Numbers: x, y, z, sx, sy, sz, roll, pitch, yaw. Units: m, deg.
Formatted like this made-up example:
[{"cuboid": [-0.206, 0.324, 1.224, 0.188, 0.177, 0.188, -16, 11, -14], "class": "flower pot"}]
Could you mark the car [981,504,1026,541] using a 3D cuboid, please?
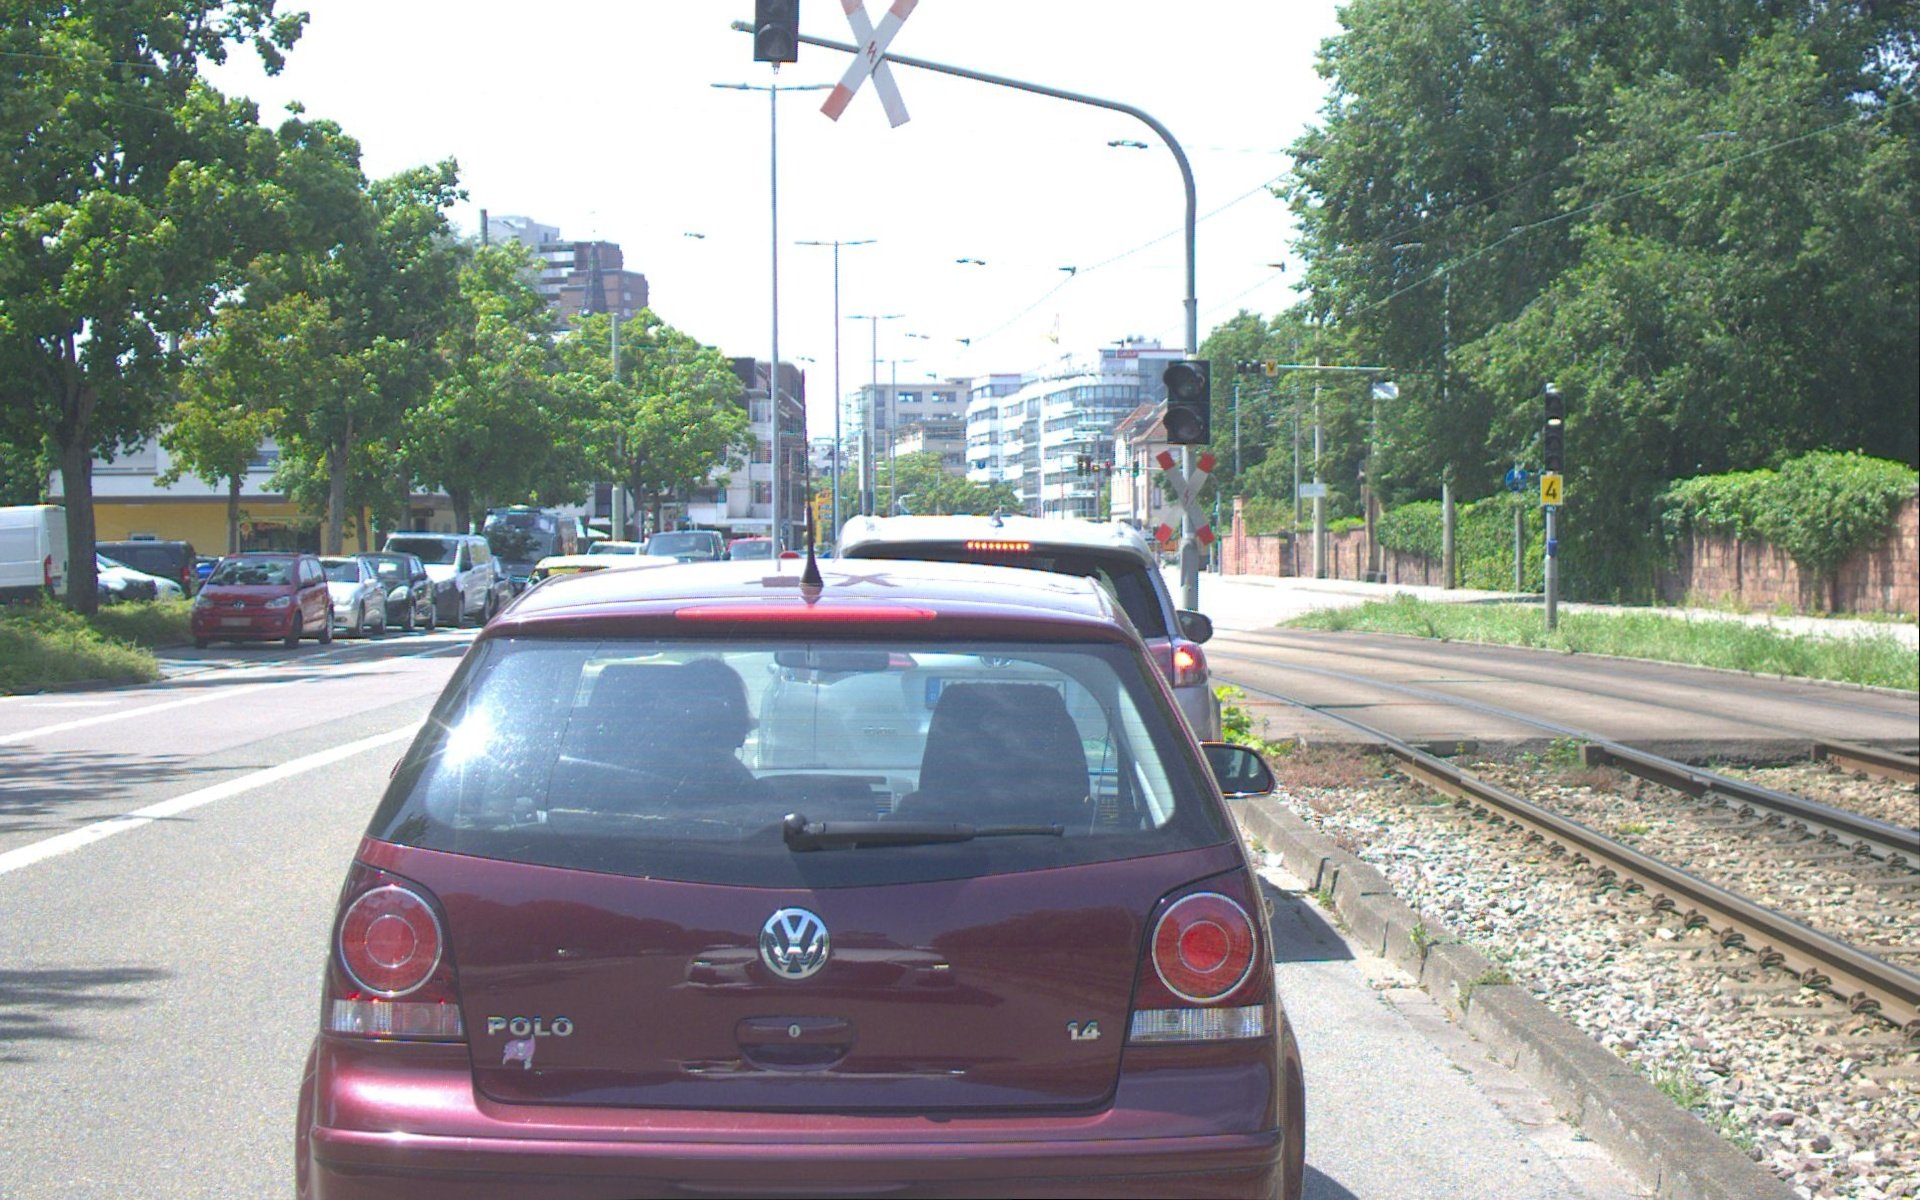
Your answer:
[{"cuboid": [2.297, -4.066, 181.262, 1.918, 1.904, 4.572, -1, 1, -5], "class": "car"}]

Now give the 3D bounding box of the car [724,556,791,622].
[{"cuboid": [-6.208, -0.367, 105.855, 1.898, 1.919, 4.820, -2, 1, -2], "class": "car"}]

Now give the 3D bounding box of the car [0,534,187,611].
[{"cuboid": [-21.429, -0.673, 83.936, 4.718, 1.807, 1.797, -1, 1, -1], "class": "car"}]

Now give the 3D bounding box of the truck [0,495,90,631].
[{"cuboid": [-21.128, -0.756, 71.165, 5.578, 2.750, 2.432, -1, 1, 1], "class": "truck"}]

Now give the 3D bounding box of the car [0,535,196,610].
[{"cuboid": [-21.713, -0.701, 86.198, 4.718, 1.807, 1.797, -1, 1, -1], "class": "car"}]

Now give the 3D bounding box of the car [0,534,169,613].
[{"cuboid": [-21.380, -0.639, 81.754, 4.718, 1.807, 1.797, -1, 1, -1], "class": "car"}]

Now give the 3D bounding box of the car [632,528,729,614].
[{"cuboid": [-6.524, -0.715, 80.659, 1.918, 1.904, 4.571, -2, 1, -1], "class": "car"}]

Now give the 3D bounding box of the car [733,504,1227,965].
[{"cuboid": [0.050, 0.458, 14.650, 1.795, 1.677, 4.000, 1, 1, -1], "class": "car"}]

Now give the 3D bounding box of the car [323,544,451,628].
[{"cuboid": [-10.928, -0.284, 65.776, 1.614, 1.479, 3.784, 3, 1, 2], "class": "car"}]

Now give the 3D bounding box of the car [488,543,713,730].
[{"cuboid": [-2.954, 0.262, 28.769, 1.551, 1.443, 3.412, 1, 1, -1], "class": "car"}]

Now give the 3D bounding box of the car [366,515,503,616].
[{"cuboid": [-10.827, -0.723, 71.156, 1.863, 1.930, 4.805, 3, 1, 2], "class": "car"}]

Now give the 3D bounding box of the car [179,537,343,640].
[{"cuboid": [-10.931, -0.193, 53.974, 1.672, 1.541, 3.726, 1, 1, 2], "class": "car"}]

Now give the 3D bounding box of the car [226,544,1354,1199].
[{"cuboid": [-0.271, 0.650, 6.946, 1.609, 1.493, 4.000, 1, 1, -1], "class": "car"}]

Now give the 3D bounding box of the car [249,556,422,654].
[{"cuboid": [-11.000, 0.057, 60.908, 1.719, 1.422, 4.770, -5, 1, 5], "class": "car"}]
